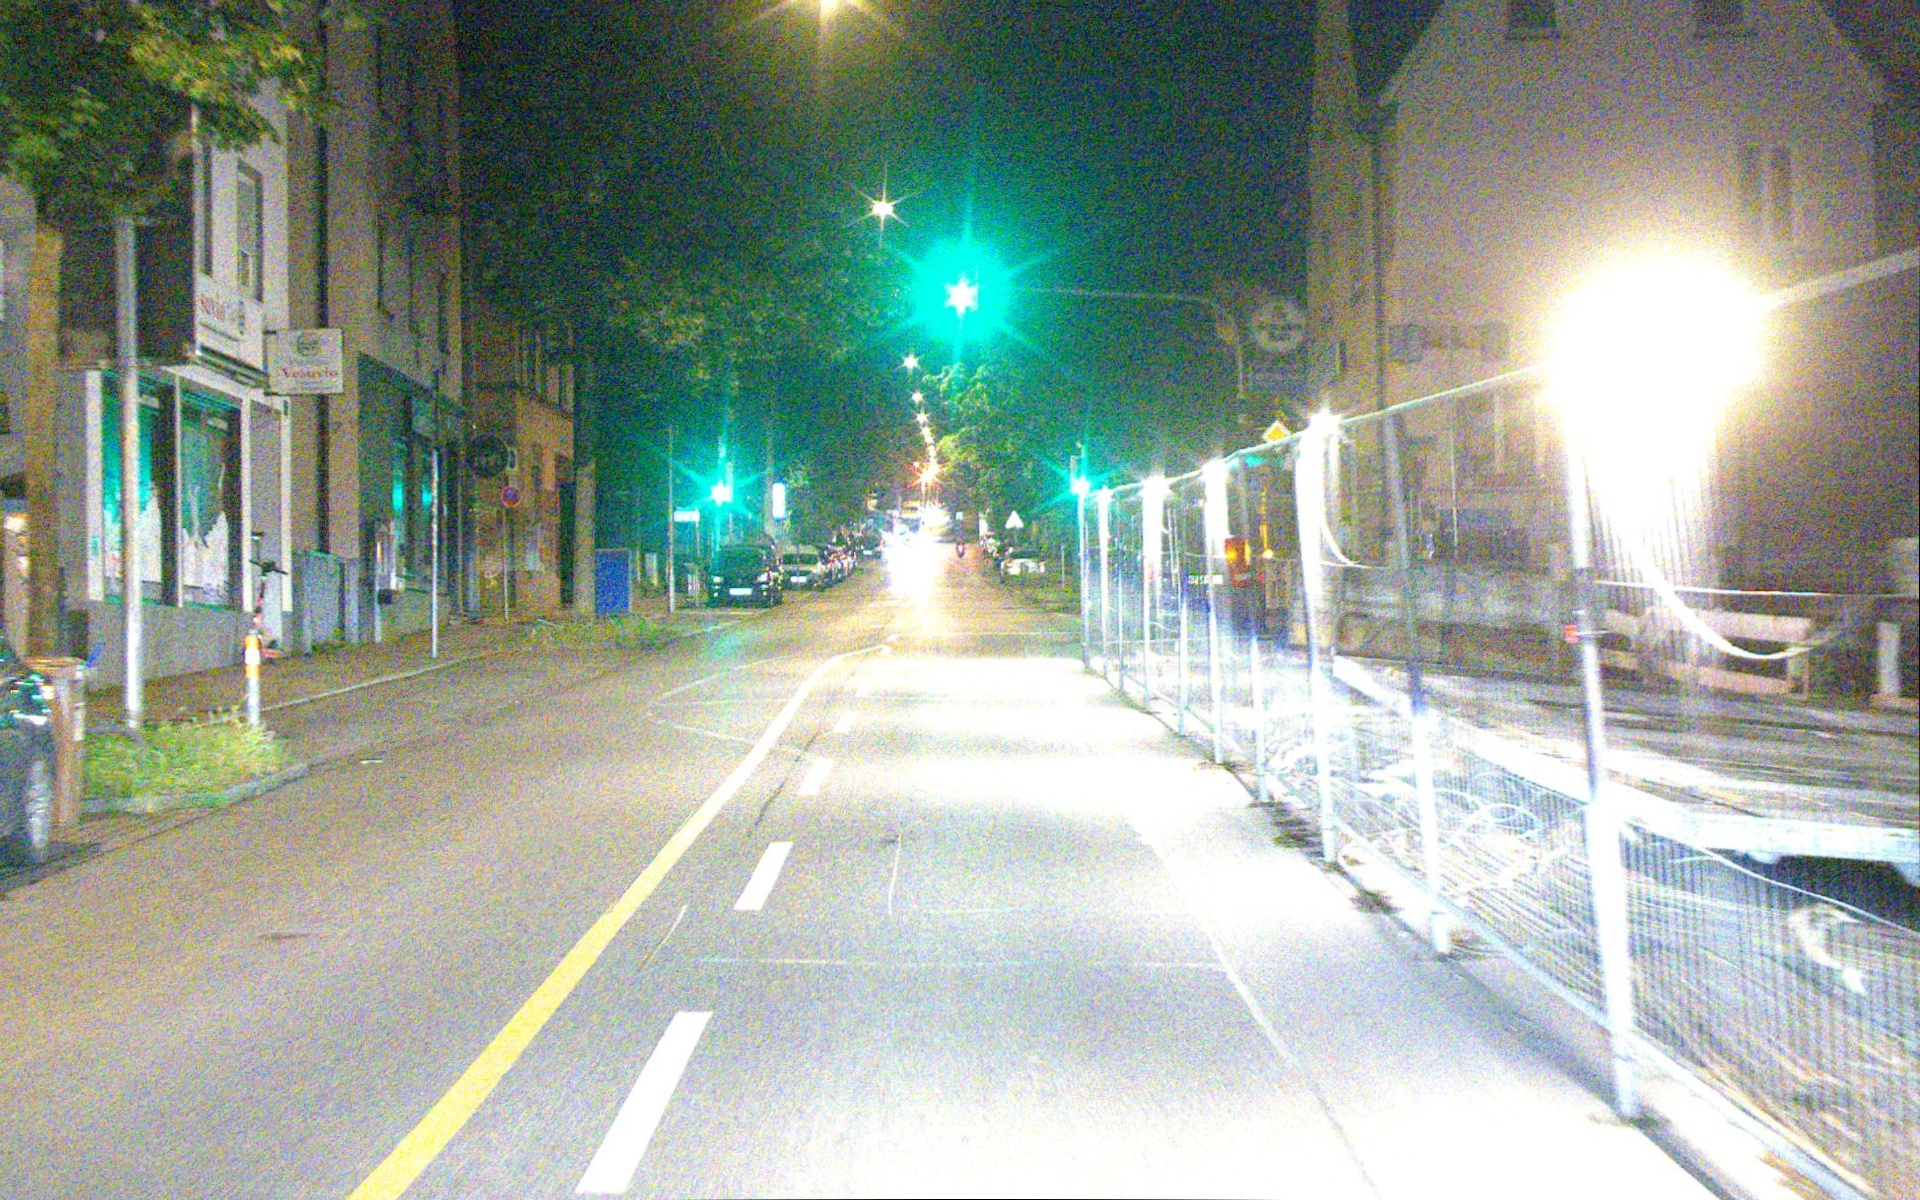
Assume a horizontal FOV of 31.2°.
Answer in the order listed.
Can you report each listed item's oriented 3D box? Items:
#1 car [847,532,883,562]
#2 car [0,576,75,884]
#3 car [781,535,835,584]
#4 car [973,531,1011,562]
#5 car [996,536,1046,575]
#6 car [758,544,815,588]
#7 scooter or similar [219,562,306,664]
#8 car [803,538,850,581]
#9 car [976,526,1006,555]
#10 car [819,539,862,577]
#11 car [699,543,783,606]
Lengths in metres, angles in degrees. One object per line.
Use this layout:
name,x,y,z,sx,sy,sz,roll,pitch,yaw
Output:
car,-5.961,-3.320,215.369,2.077,1.808,4.205,0,1,1
car,-5.347,0.631,15.436,1.671,1.438,4.205,-1,1,0
car,-5.774,-1.557,131.045,1.873,1.808,4.205,0,1,0
car,1.642,-2.758,176.834,1.873,1.539,4.205,-1,1,0
car,2.438,-1.784,137.885,1.873,1.539,4.205,-1,1,0
car,-6.259,-1.238,124.624,1.873,1.539,4.205,-1,1,0
scooter or similar,-8.378,0.172,41.360,0.528,1.161,2.507,-2,-1,-1
car,-5.766,-1.754,149.193,1.873,1.808,4.205,-1,1,0
car,2.025,-3.900,225.389,1.873,1.900,4.205,-1,1,0
car,-5.796,-2.057,167.148,1.873,1.808,4.205,0,1,1
car,-5.540,-0.660,87.438,1.873,1.539,4.205,-1,1,0
